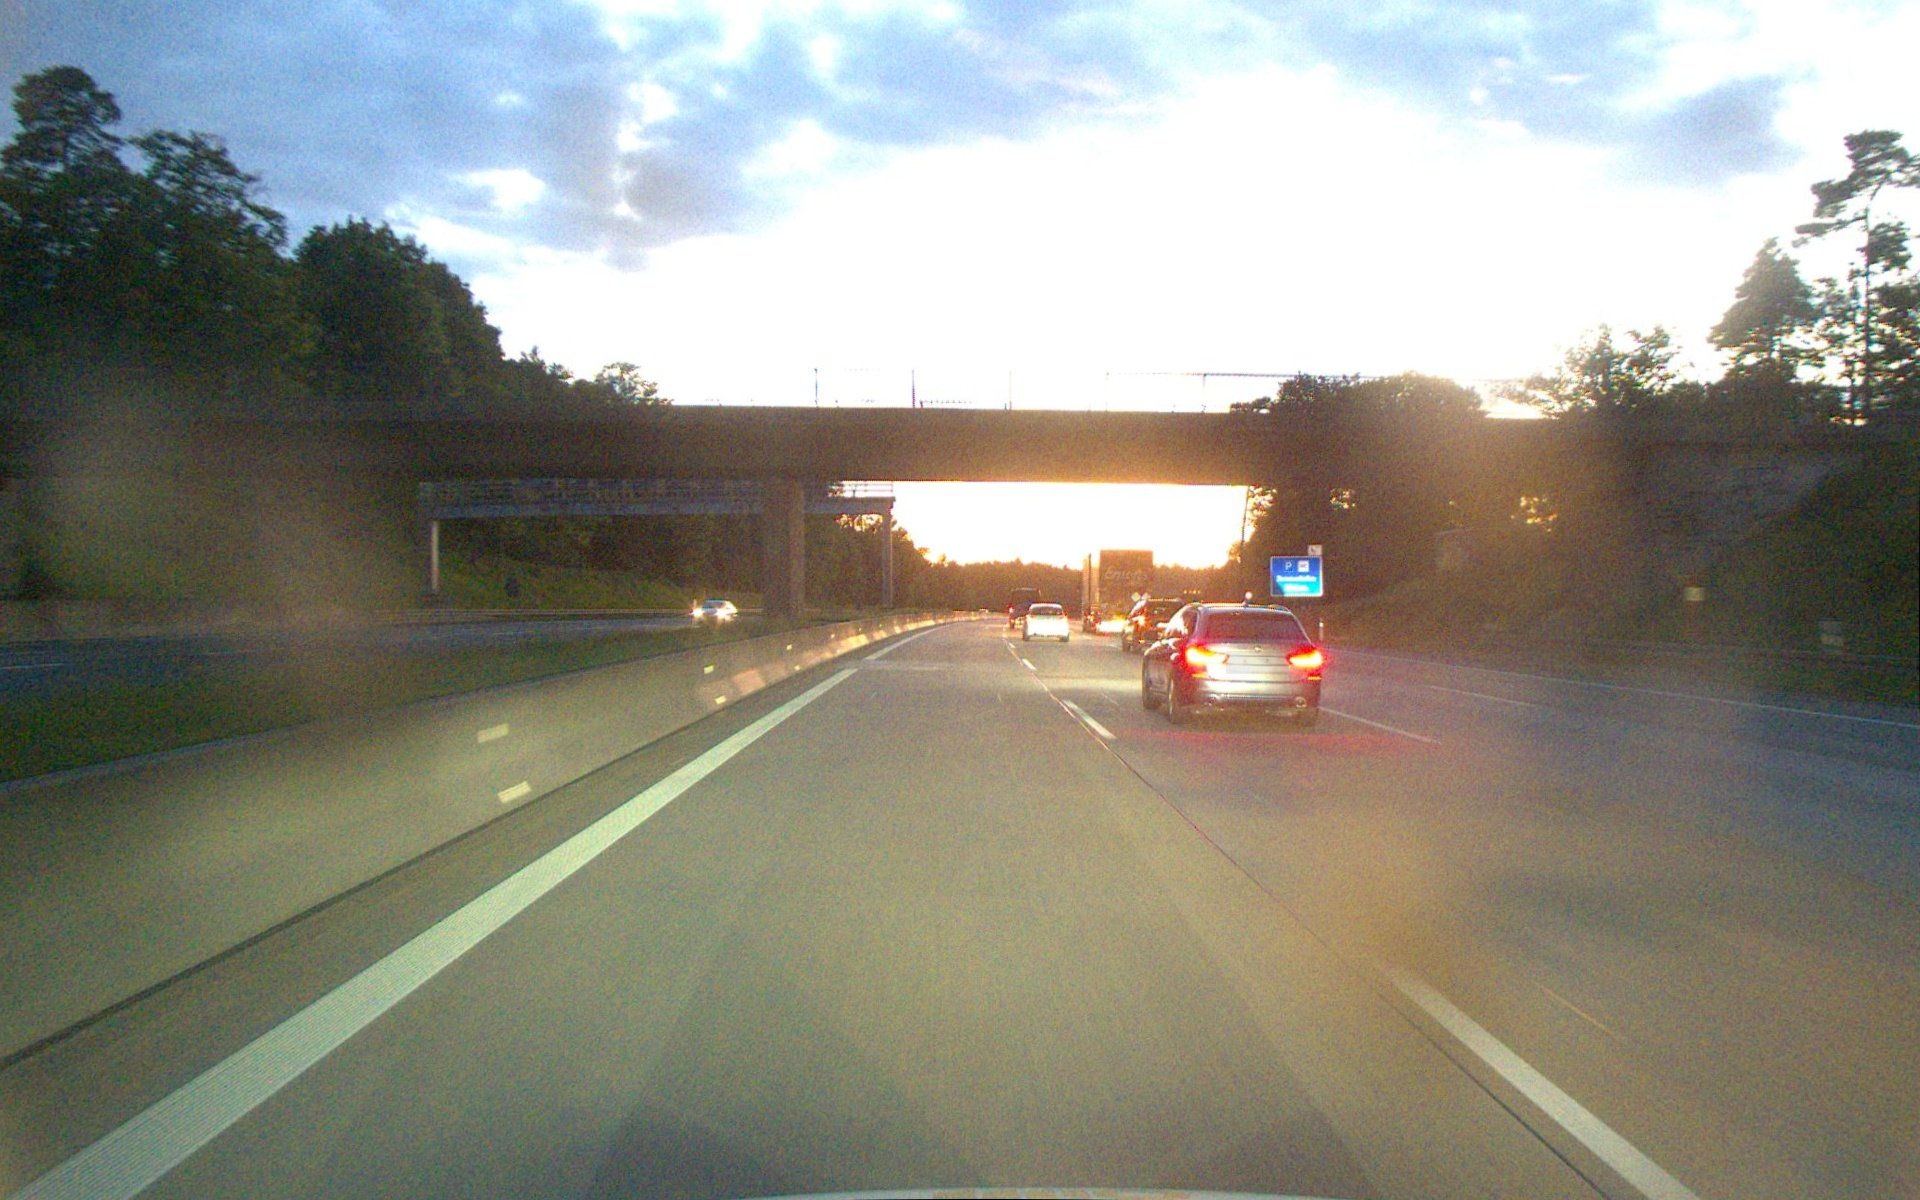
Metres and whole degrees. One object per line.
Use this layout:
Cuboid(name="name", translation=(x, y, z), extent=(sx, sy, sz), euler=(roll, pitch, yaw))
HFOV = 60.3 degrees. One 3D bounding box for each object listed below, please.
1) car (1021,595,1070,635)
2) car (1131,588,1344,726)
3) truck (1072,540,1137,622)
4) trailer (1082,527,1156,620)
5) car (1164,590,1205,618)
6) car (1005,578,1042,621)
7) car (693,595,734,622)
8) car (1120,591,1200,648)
Cuboid(name="car", translation=(3.345, 0.572, 64.986), extent=(1.821, 1.467, 3.721), euler=(0, 1, 1))
Cuboid(name="car", translation=(3.514, 0.647, 21.949), extent=(1.870, 1.564, 5.231), euler=(0, 1, -1))
Cuboid(name="truck", translation=(7.904, -0.912, 91.773), extent=(2.825, 4.173, 10.832), euler=(1, -1, 1))
Cuboid(name="trailer", translation=(7.694, -1.152, 81.225), extent=(2.847, 4.173, 10.358), euler=(1, -1, 1))
Cuboid(name="car", translation=(12.405, 0.232, 91.584), extent=(1.820, 1.467, 4.112), euler=(0, -1, 2))
Cuboid(name="car", translation=(3.885, -0.014, 100.037), extent=(2.120, 2.461, 5.566), euler=(1, -1, 3))
Cuboid(name="car", translation=(-14.783, 0.502, 99.443), extent=(1.774, 1.547, 4.430), euler=(0, 1, 0))
Cuboid(name="car", translation=(6.117, 0.582, 51.044), extent=(1.864, 1.672, 5.052), euler=(1, 0, 0))
